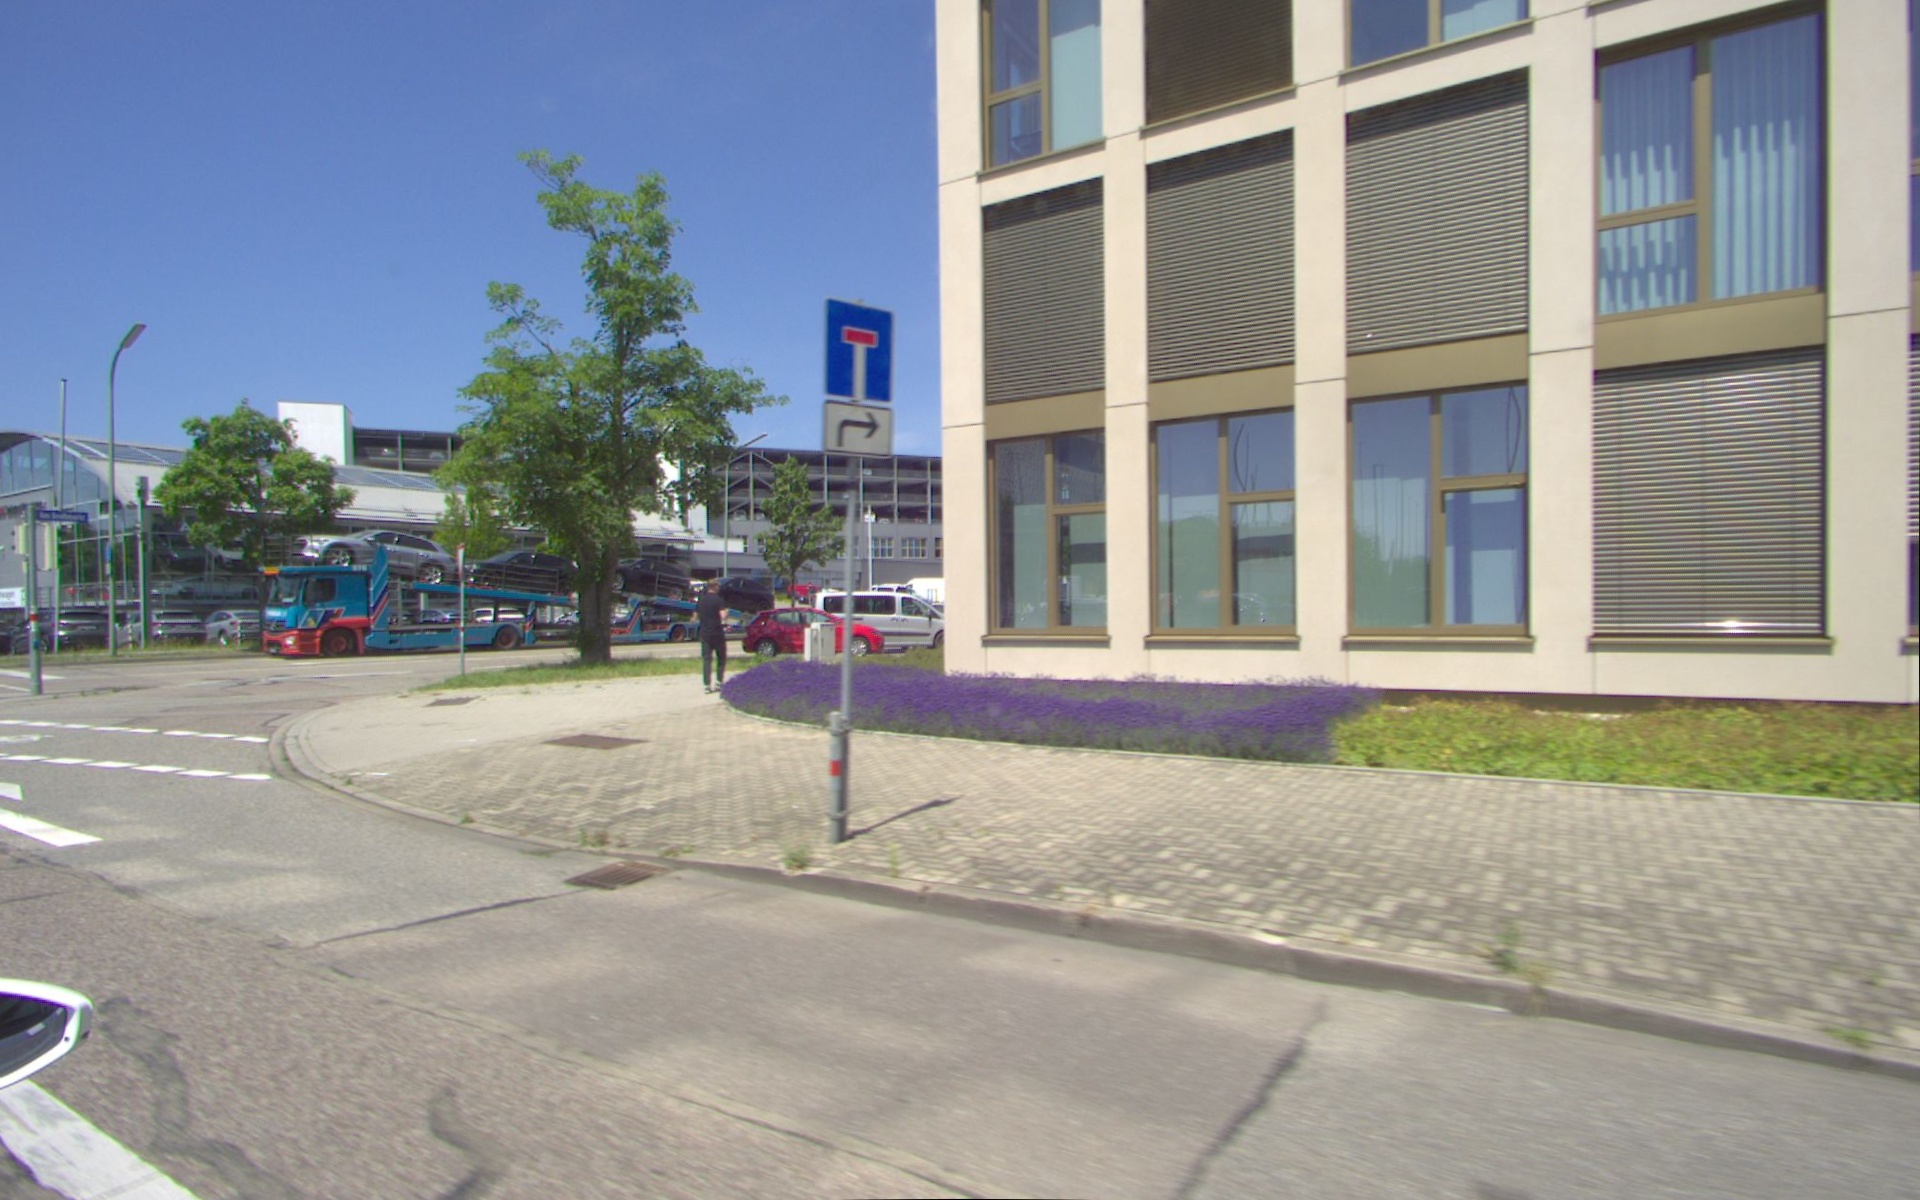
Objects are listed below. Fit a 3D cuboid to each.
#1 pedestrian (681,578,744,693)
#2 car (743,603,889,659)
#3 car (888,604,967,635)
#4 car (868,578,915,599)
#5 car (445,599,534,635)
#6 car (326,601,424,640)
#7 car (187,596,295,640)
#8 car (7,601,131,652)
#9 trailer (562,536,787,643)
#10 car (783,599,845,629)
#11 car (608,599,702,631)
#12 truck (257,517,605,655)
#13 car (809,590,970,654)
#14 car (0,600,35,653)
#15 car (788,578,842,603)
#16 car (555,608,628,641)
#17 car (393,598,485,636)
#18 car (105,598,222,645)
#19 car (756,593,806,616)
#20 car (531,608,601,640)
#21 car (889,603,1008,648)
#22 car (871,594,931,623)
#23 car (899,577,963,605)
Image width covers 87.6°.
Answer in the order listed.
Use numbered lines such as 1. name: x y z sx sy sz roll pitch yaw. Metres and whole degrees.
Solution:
1. pedestrian: -4.167 0.579 16.902 0.758 1.870 0.868 -1 2 4
2. car: -4.055 0.844 28.205 3.924 1.454 1.609 -1 0 -10
3. car: -1.787 1.079 56.735 1.974 1.609 4.664 1 0 36
4. car: -6.830 -1.124 99.645 4.255 2.040 1.990 0 0 31
5. car: -23.143 0.790 49.235 4.408 1.662 1.824 0 1 31
6. car: -25.979 0.865 44.416 4.407 1.661 1.825 0 0 30
7. car: -28.549 0.656 39.753 4.458 1.662 1.882 0 1 31
8. car: -31.256 0.888 35.113 4.490 1.662 1.990 0 1 31
9. trailer: -12.039 -0.401 43.378 3.054 4.136 9.580 1 0 36
10. car: -10.124 0.977 69.408 3.941 2.040 1.990 0 0 31
11. car: -16.970 0.807 55.865 4.705 1.662 1.820 0 1 -37
12. truck: -17.991 -0.411 35.186 3.060 4.137 10.582 1 0 36
13. car: -2.240 0.657 31.391 4.815 1.840 1.703 -1 0 -11
14. car: -32.354 0.839 32.749 4.205 1.661 1.990 0 0 31
15. car: -12.481 -0.788 86.028 4.284 2.040 1.991 0 0 29
16. car: -21.056 1.347 57.215 3.661 1.801 1.738 0 0 -32
17. car: -24.355 0.762 46.776 4.408 1.662 1.824 0 1 31
18. car: -29.733 0.763 37.358 4.375 1.662 1.990 0 1 31
19. car: -14.760 0.362 82.449 3.941 1.810 1.730 0 0 31
20. car: -23.357 1.381 59.365 3.714 1.795 1.761 0 0 -29
21. car: -0.429 0.857 34.586 3.924 1.483 1.718 0 0 -9
22. car: -4.185 0.609 71.177 3.941 2.040 1.840 0 0 31
23. car: -2.222 -0.656 77.148 4.576 2.040 1.990 0 0 31
